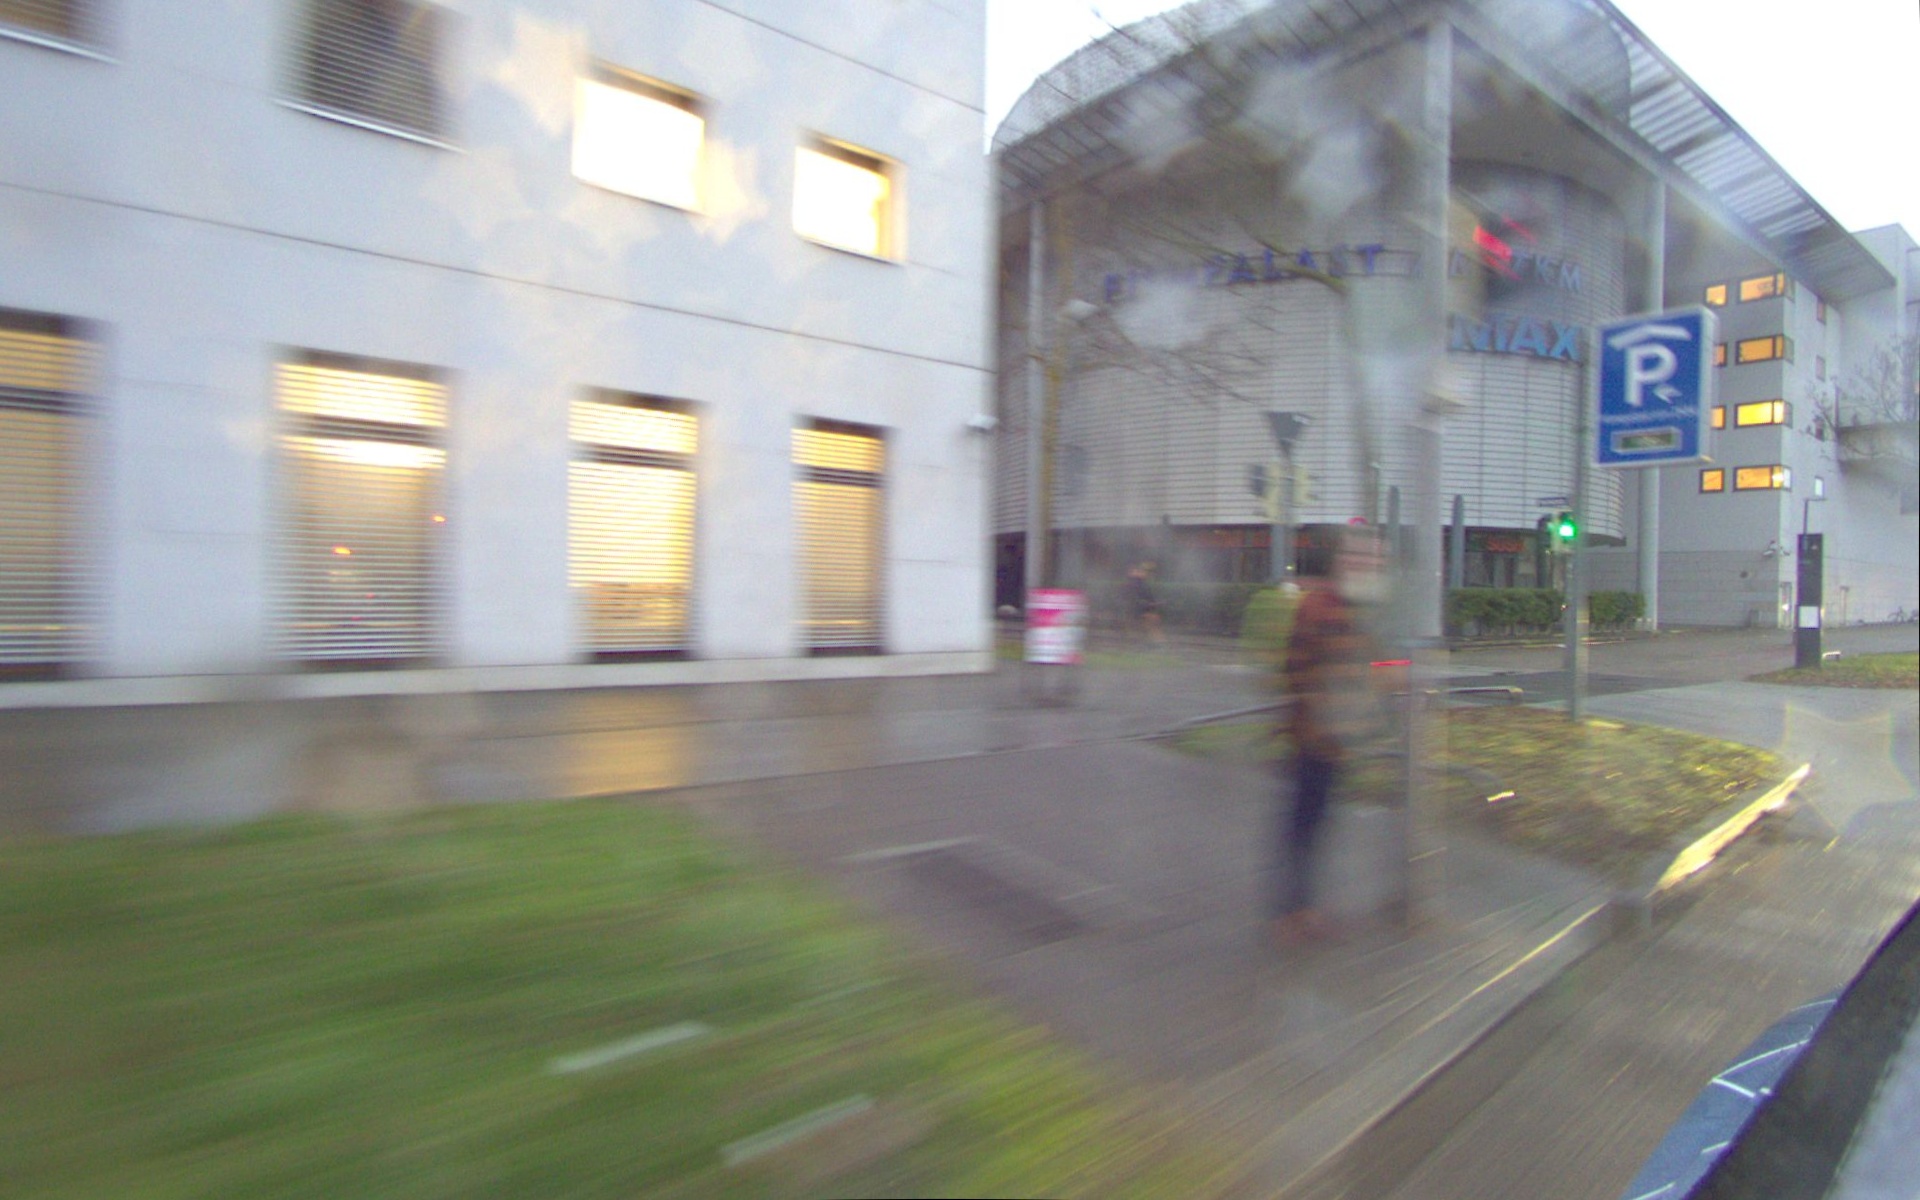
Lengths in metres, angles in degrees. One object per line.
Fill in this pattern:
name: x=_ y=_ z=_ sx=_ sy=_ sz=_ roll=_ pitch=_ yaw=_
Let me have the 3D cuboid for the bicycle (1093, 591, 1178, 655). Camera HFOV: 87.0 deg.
bicycle: x=3.257 y=0.415 z=18.967 sx=0.836 sy=1.105 sz=1.872 roll=3 pitch=-1 yaw=-14

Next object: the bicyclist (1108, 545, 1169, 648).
bicyclist: x=3.327 y=-0.066 z=18.886 sx=0.822 sy=1.846 sz=0.733 roll=3 pitch=-1 yaw=-15

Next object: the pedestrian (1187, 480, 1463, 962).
pedestrian: x=1.539 y=0.427 z=4.319 sx=0.687 sy=1.830 sz=0.772 roll=-1 pitch=5 yaw=-41
